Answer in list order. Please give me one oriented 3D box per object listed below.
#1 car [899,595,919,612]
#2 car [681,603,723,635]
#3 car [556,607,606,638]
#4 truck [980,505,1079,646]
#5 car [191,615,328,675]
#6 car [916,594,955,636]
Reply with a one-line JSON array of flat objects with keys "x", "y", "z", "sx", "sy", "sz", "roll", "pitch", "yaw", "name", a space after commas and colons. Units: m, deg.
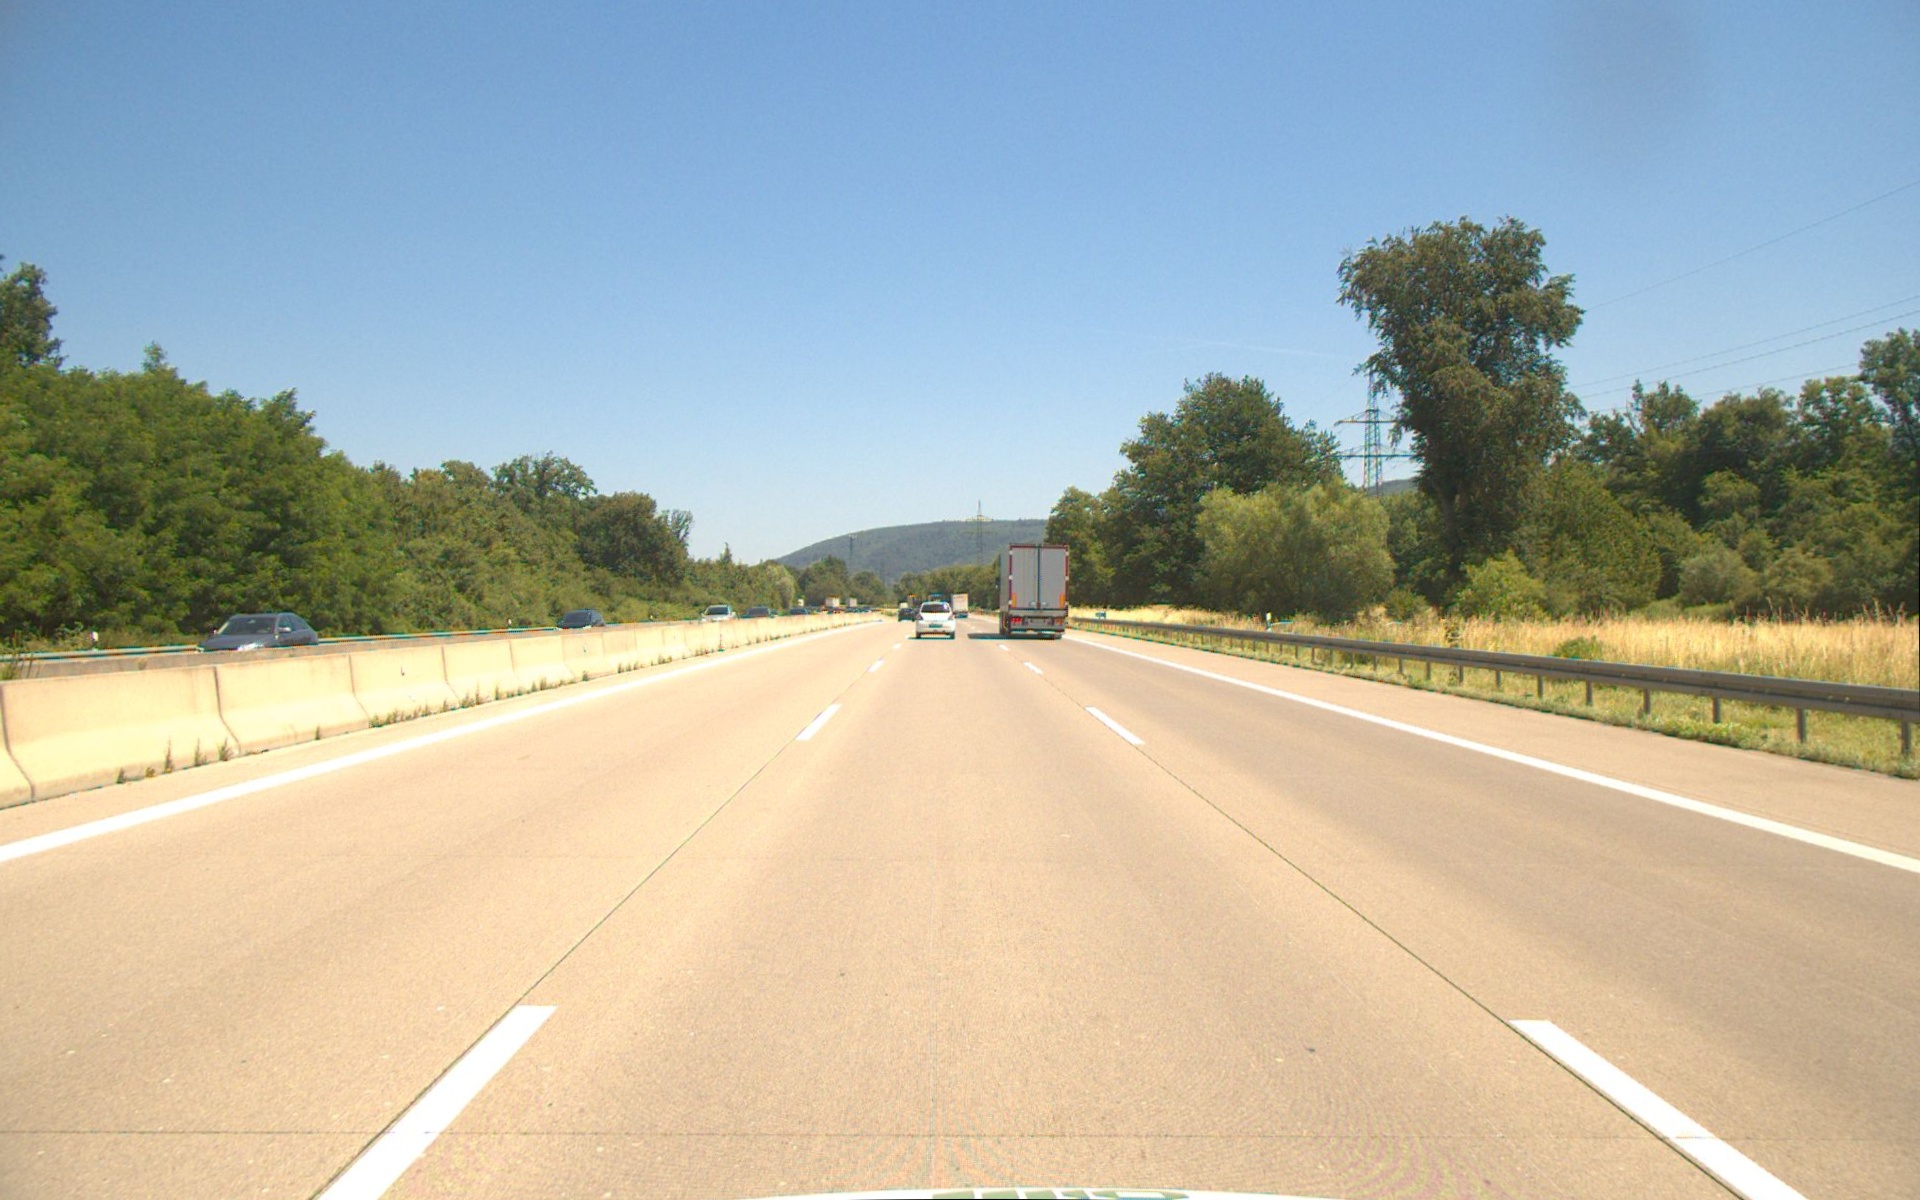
[{"x": -5.527, "y": 0.401, "z": 177.788, "sx": 1.982, "sy": 1.730, "sz": 3.997, "roll": 2, "pitch": 0, "yaw": -3, "name": "car"}, {"x": -14.474, "y": 1.063, "z": 93.020, "sx": 1.674, "sy": 1.707, "sz": 4.928, "roll": -1, "pitch": 0, "yaw": -1, "name": "car"}, {"x": -17.348, "y": 1.030, "z": 75.826, "sx": 1.533, "sy": 1.342, "sz": 3.631, "roll": -1, "pitch": 0, "yaw": -2, "name": "car"}, {"x": 3.019, "y": -1.054, "z": 78.549, "sx": 3.505, "sy": 5.888, "sz": 18.241, "roll": 0, "pitch": 0, "yaw": -1, "name": "truck"}, {"x": -17.057, "y": 1.060, "z": 40.481, "sx": 1.533, "sy": 1.342, "sz": 4.371, "roll": -1, "pitch": 0, "yaw": -1, "name": "car"}, {"x": -1.024, "y": 0.613, "z": 70.341, "sx": 1.608, "sy": 1.691, "sz": 3.359, "roll": 1, "pitch": 0, "yaw": -1, "name": "car"}]
